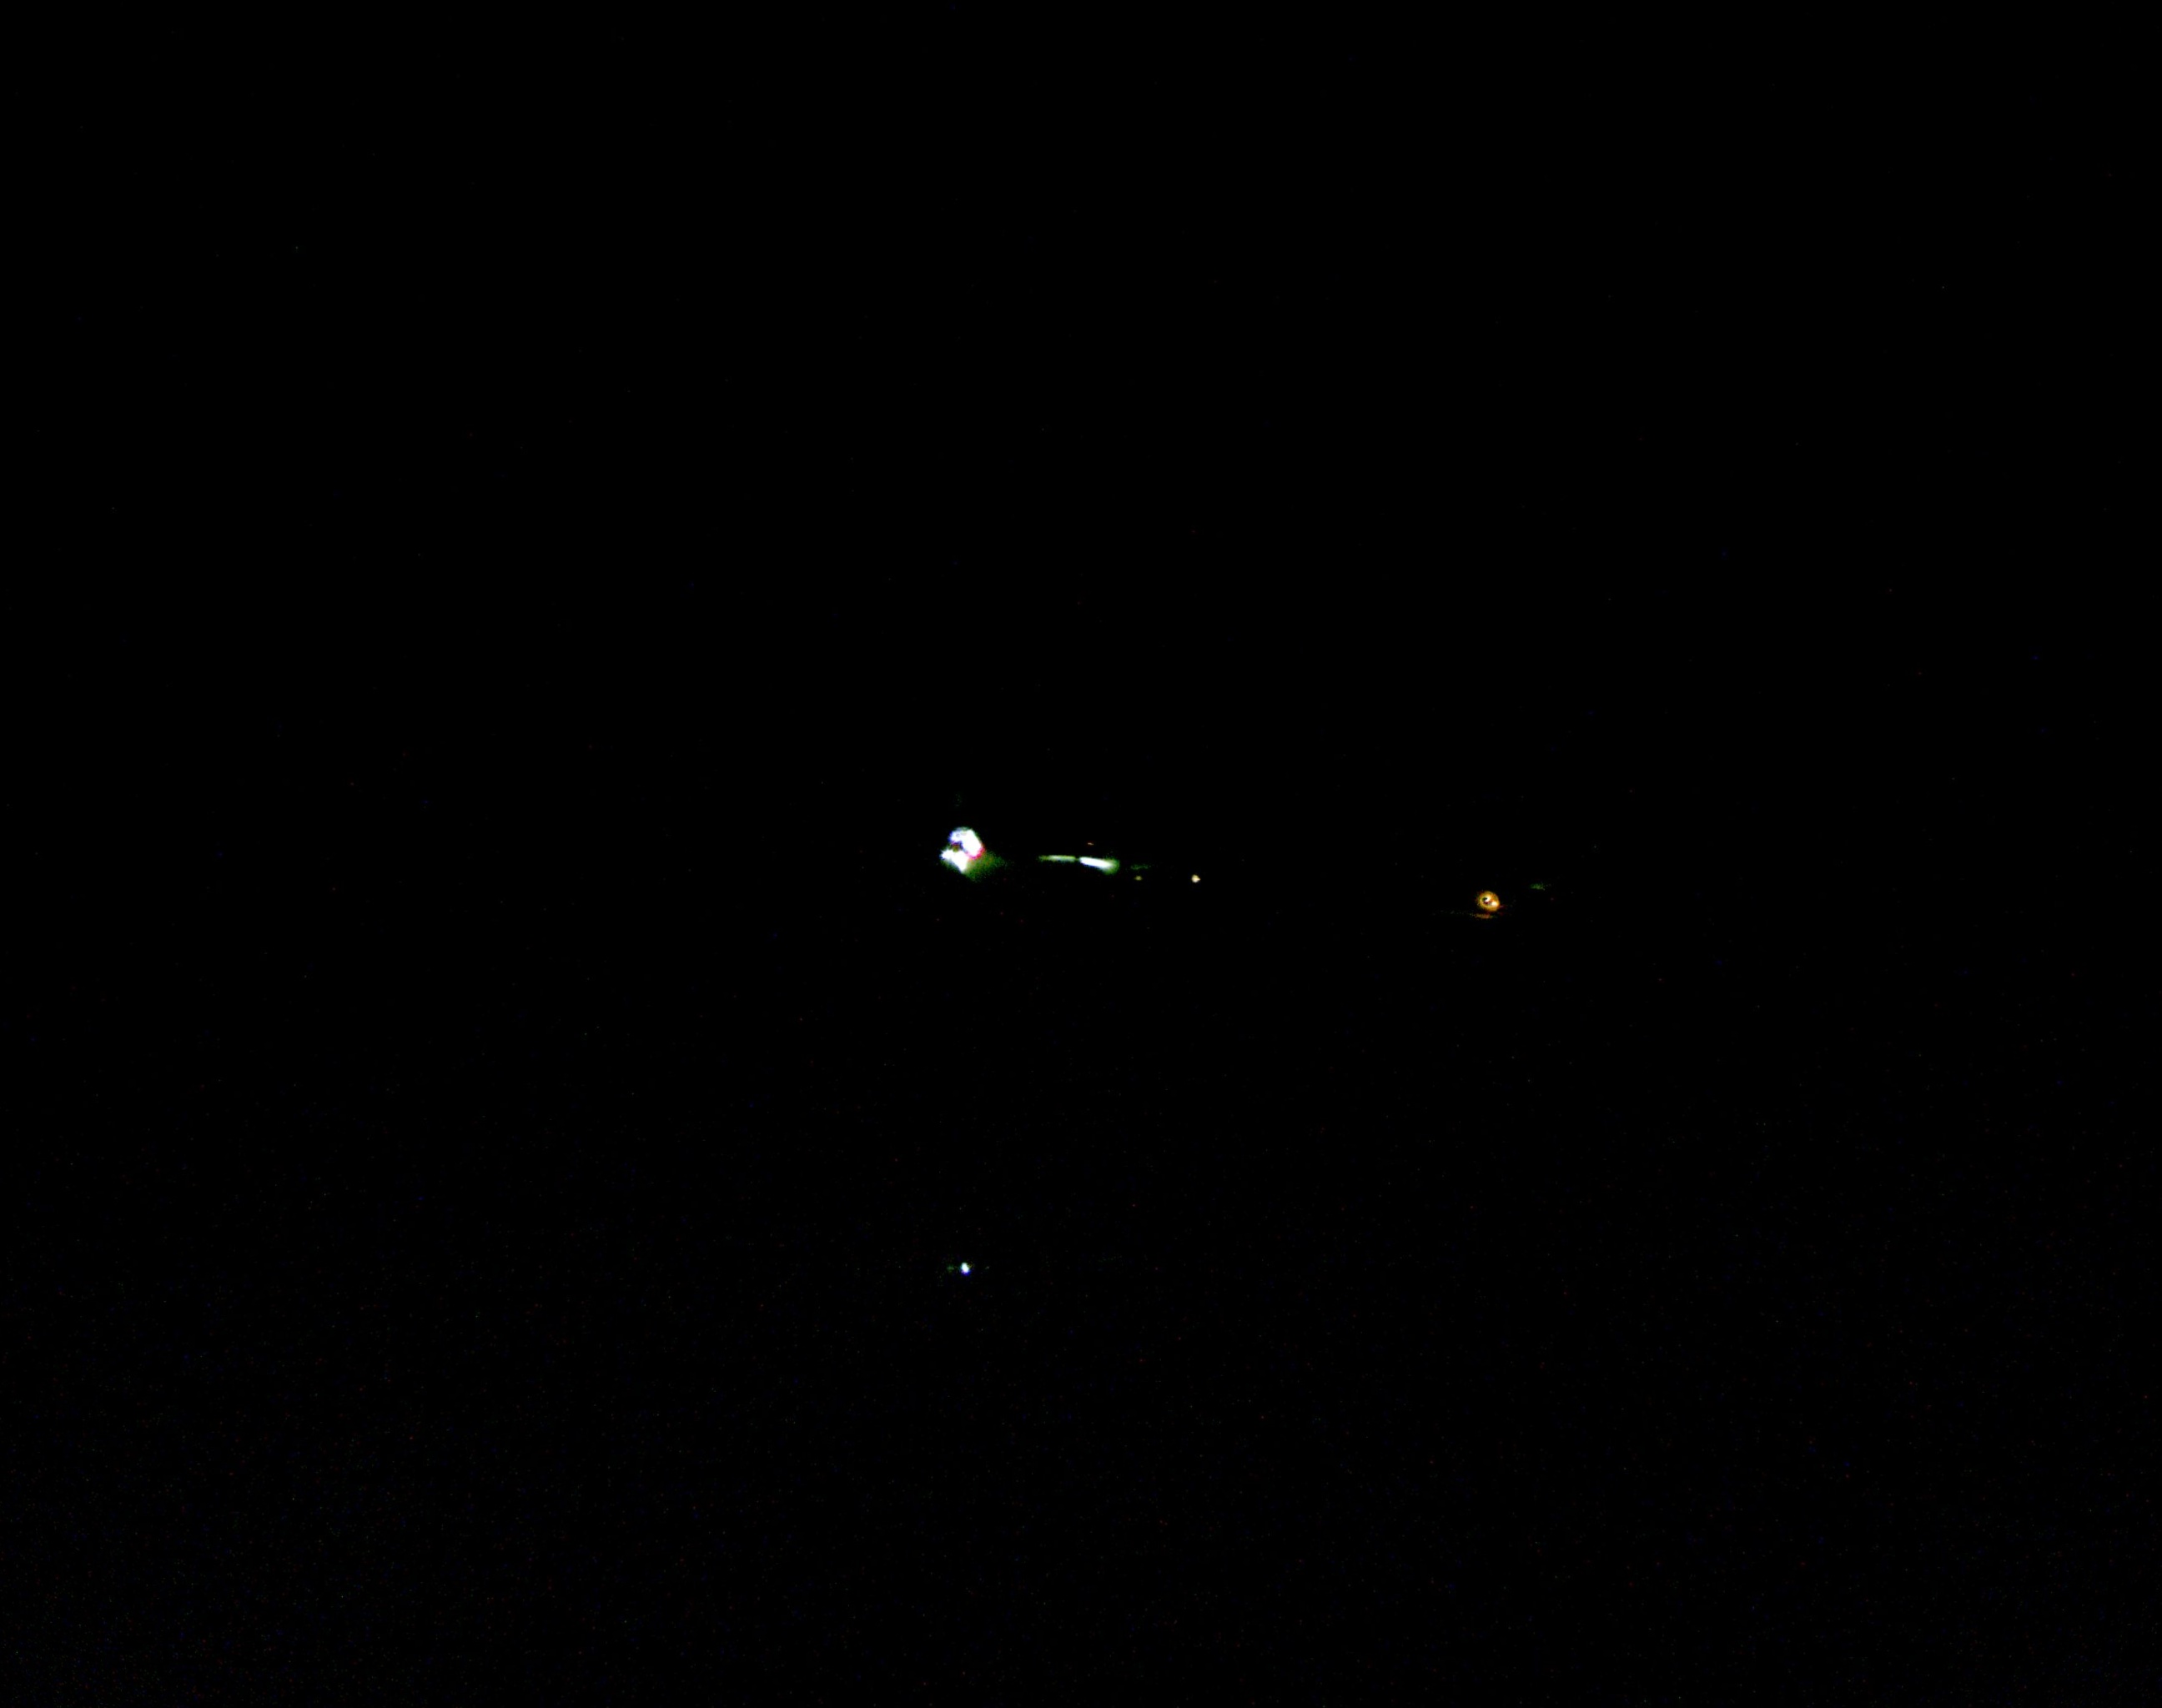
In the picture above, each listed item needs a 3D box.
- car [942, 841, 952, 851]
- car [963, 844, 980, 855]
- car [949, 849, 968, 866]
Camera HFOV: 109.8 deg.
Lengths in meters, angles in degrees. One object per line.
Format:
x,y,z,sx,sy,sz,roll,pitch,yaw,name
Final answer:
-26.729,-1.697,151.725,1.785,1.833,4.155,-3,2,-11,car
-15.202,-0.597,105.303,2.000,1.403,3.995,-3,2,-11,car
-14.233,0.367,88.267,1.800,1.839,3.638,-2,2,-13,car
